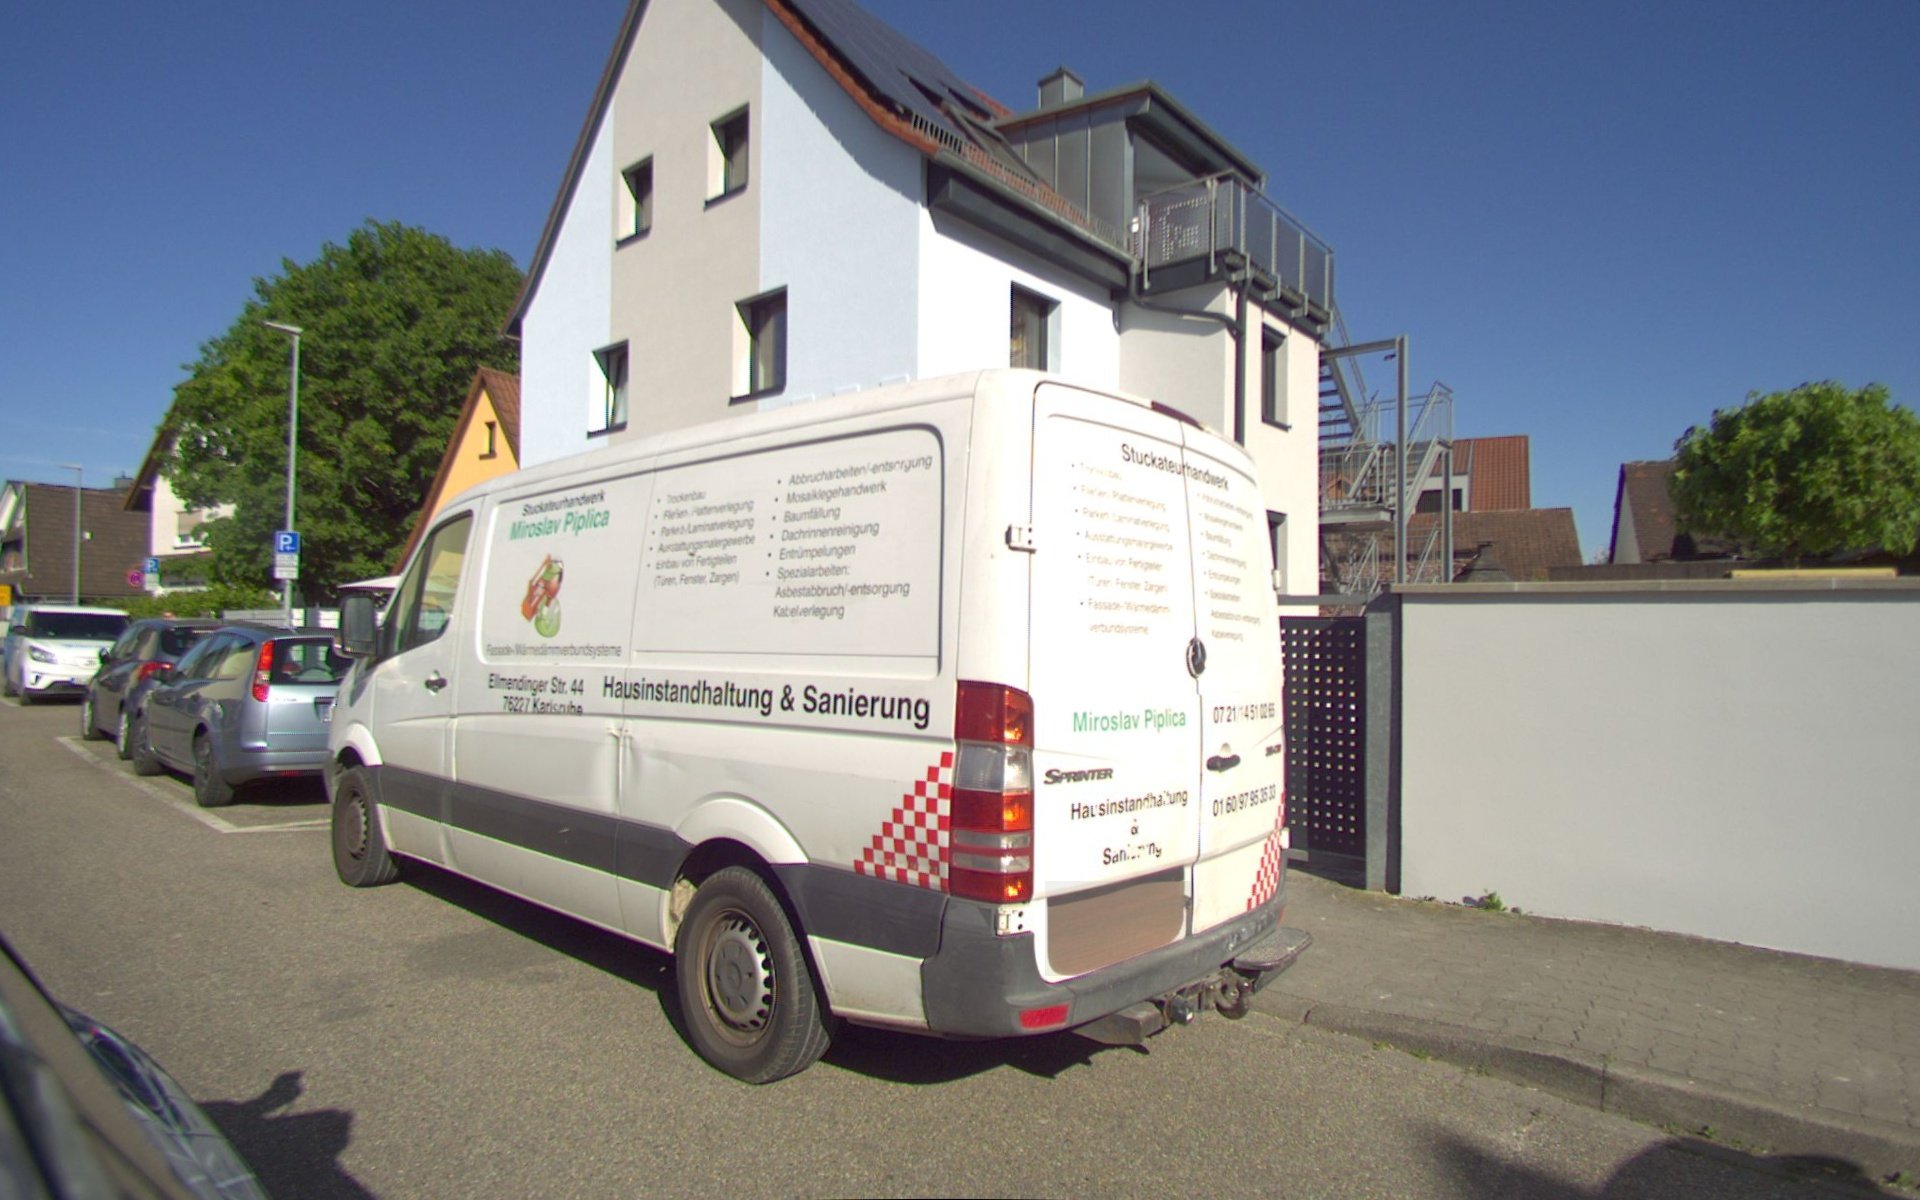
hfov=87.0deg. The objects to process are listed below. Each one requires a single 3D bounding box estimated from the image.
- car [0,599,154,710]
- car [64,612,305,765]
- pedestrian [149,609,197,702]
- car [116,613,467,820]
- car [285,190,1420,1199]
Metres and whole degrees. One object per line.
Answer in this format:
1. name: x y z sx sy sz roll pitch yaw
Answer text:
1. car: -17.702 1.005 20.053 5.069 1.932 1.882 -1 -2 42
2. car: -9.766 0.983 12.640 3.924 1.610 1.696 -1 -2 42
3. pedestrian: -15.423 1.070 19.832 0.883 1.762 0.610 -1 -1 42
4. car: -6.391 0.929 9.473 4.234 1.516 1.693 -2 -3 42
5. car: -1.194 0.373 5.125 6.062 2.408 2.173 -2 -4 42
